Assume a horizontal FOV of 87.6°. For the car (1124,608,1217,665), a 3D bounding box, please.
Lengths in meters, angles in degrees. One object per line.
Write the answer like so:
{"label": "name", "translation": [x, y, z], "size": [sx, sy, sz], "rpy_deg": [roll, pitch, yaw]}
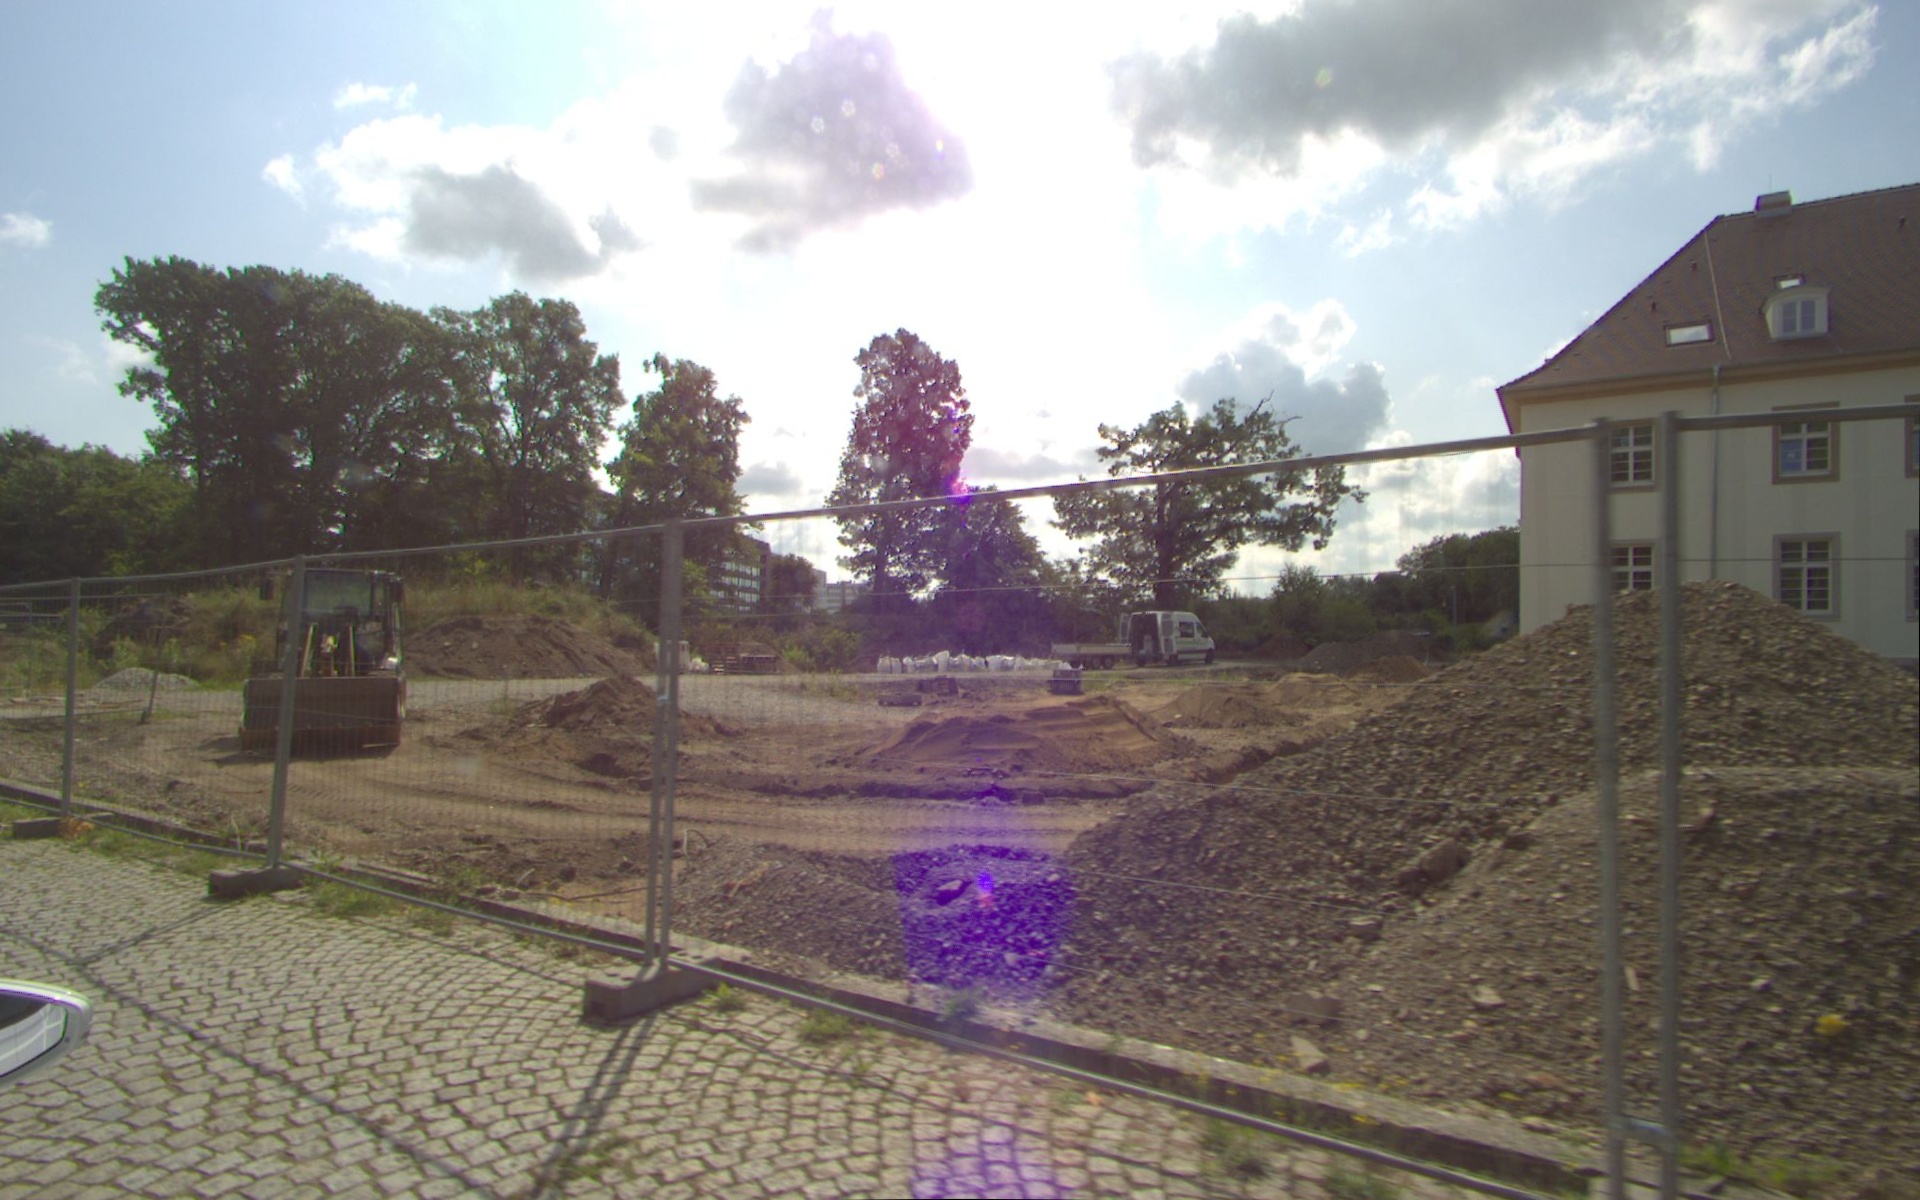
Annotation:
{"label": "car", "translation": [10.412, 1.767, 49.278], "size": [2.221, 2.624, 5.397], "rpy_deg": [-1, -2, 40]}

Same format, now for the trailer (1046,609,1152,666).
{"label": "trailer", "translation": [6.394, 1.710, 45.826], "size": [4.785, 2.504, 1.948], "rpy_deg": [1, -1, -36]}

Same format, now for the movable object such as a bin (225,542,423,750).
{"label": "movable object such as a bin", "translation": [-9.426, 0.590, 15.265], "size": [2.118, 2.555, 5.628], "rpy_deg": [1, 0, -29]}
